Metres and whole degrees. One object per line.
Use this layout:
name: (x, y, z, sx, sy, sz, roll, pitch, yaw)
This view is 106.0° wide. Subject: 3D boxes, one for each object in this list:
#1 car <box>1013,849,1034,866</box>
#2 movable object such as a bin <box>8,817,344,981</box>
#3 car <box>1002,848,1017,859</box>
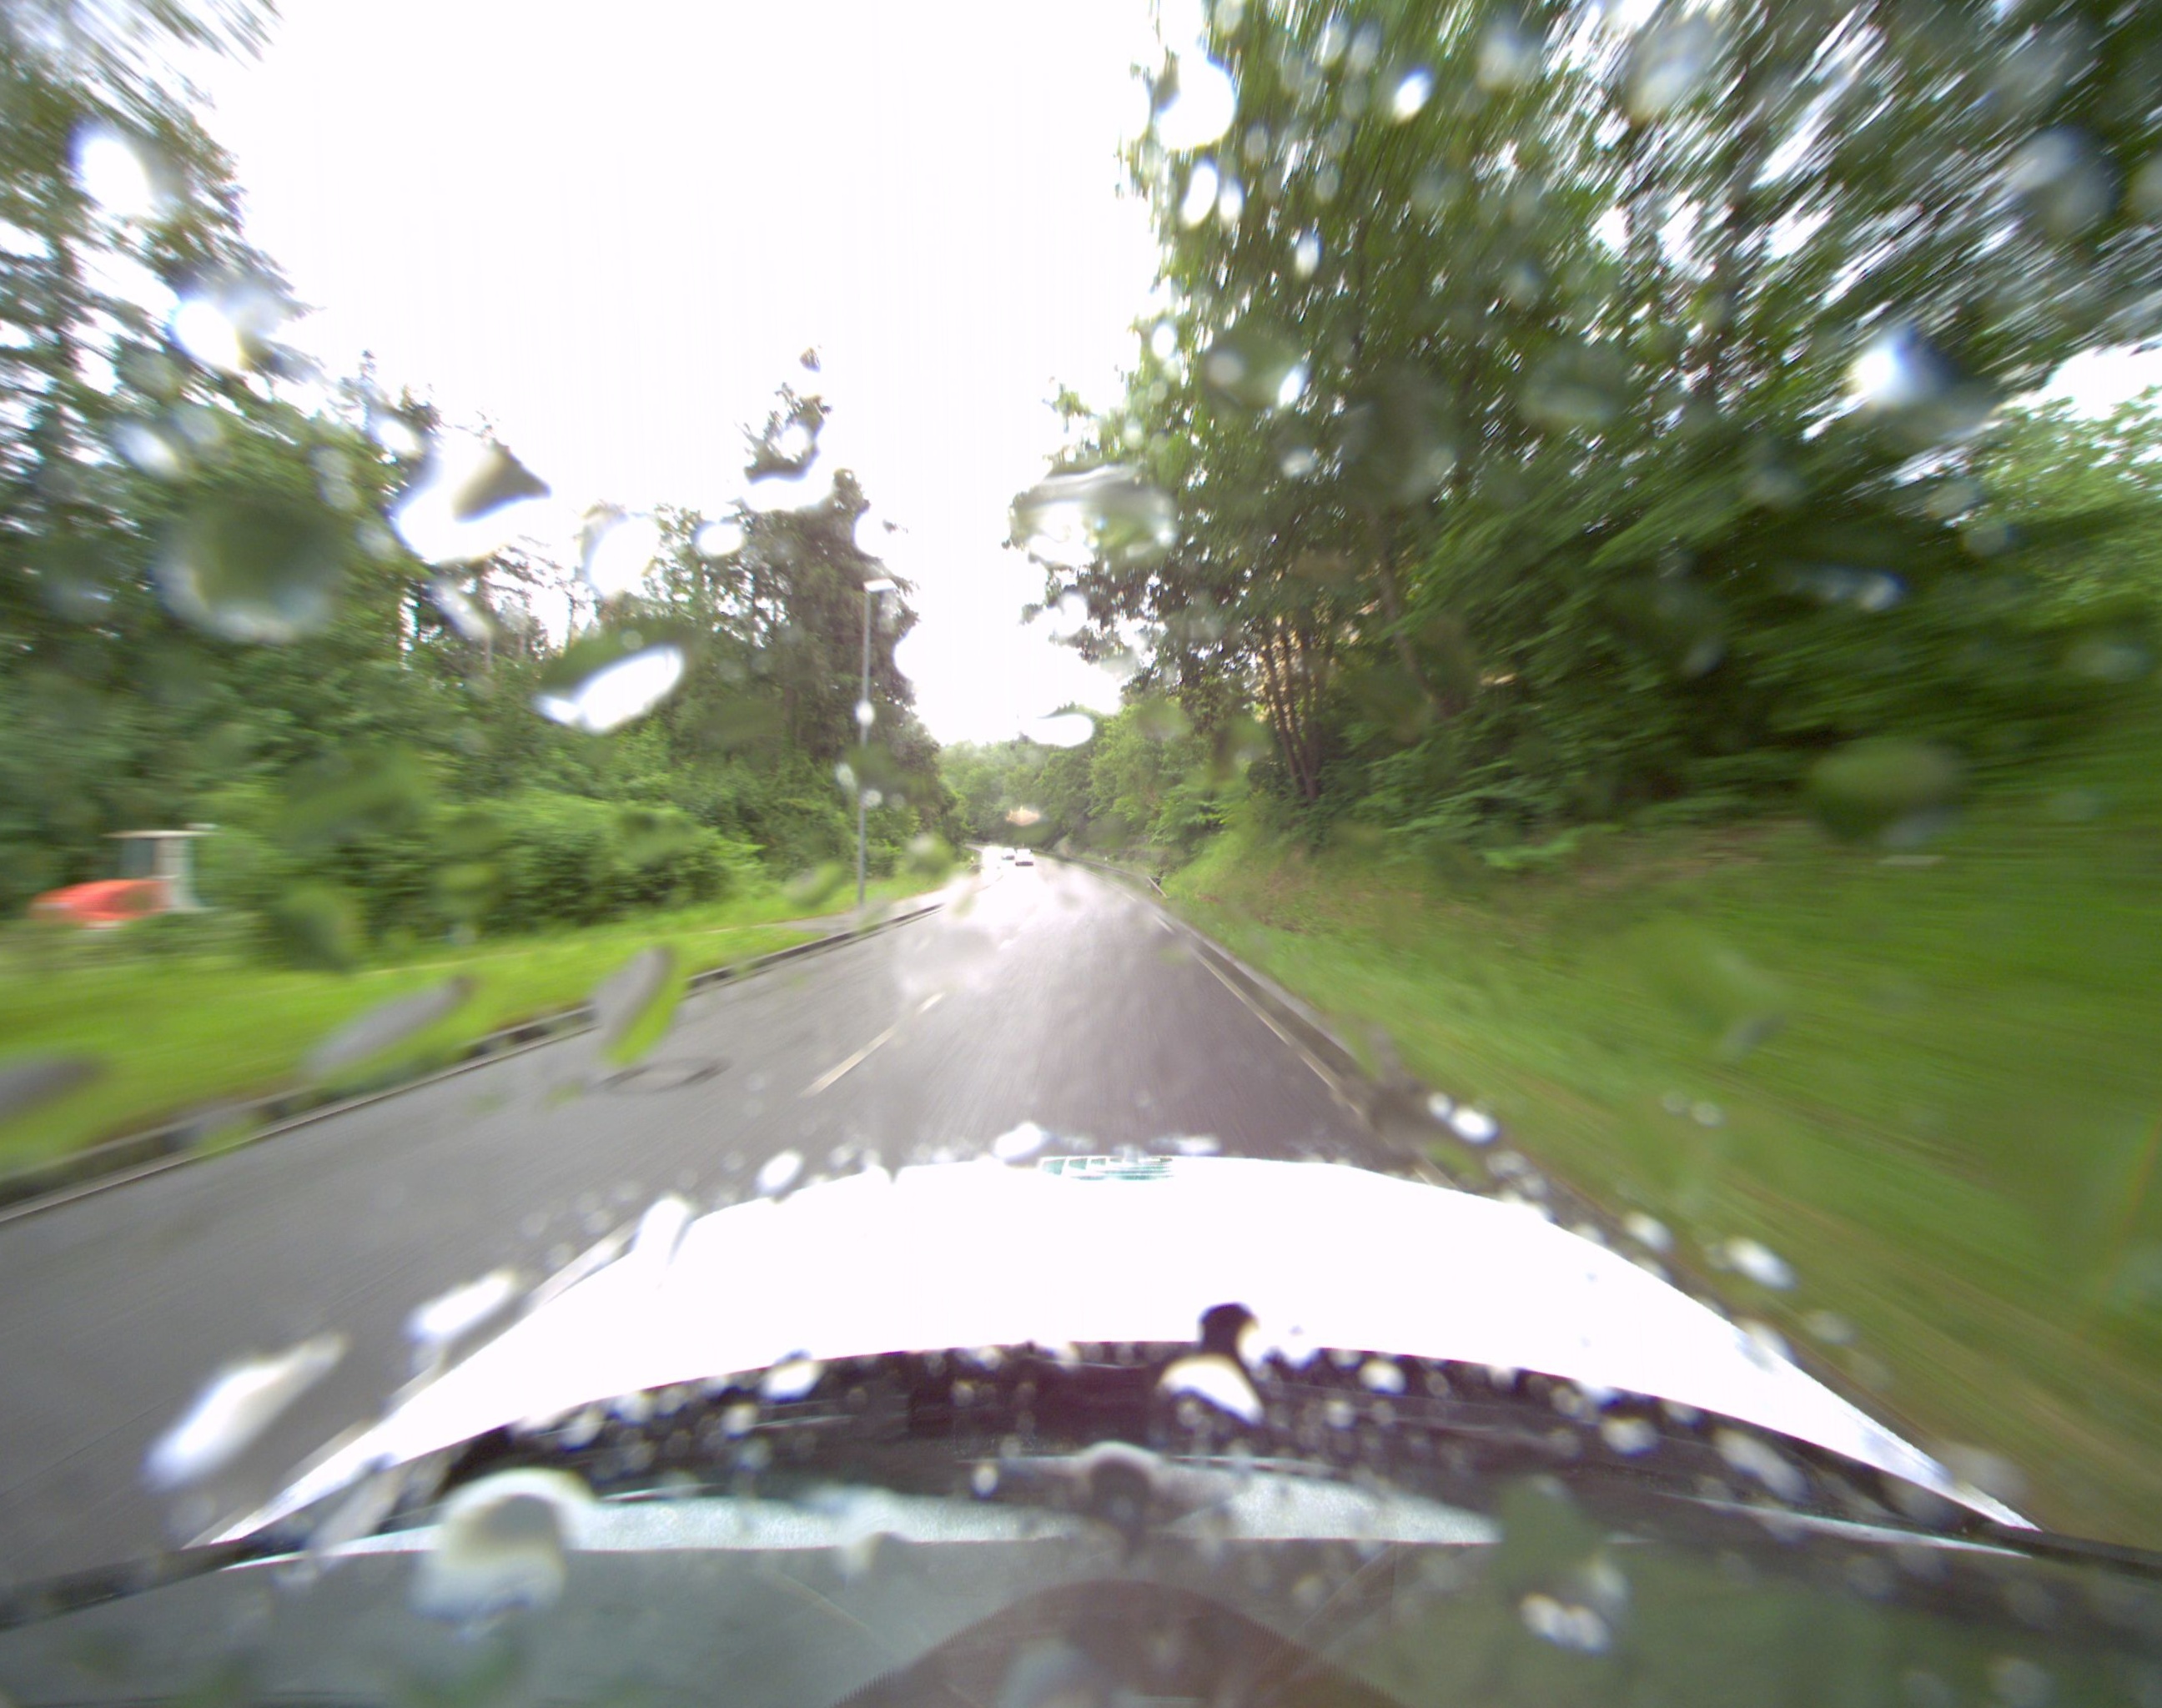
car: (-6.087, 0.362, 85.942, 1.814, 1.648, 4.118, -1, 0, -9)
movable object such as a bin: (-17.892, 0.789, 16.421, 1.979, 2.861, 4.016, 0, 0, 15)
car: (-9.285, -0.045, 105.302, 1.813, 1.434, 3.989, -1, 0, -8)
